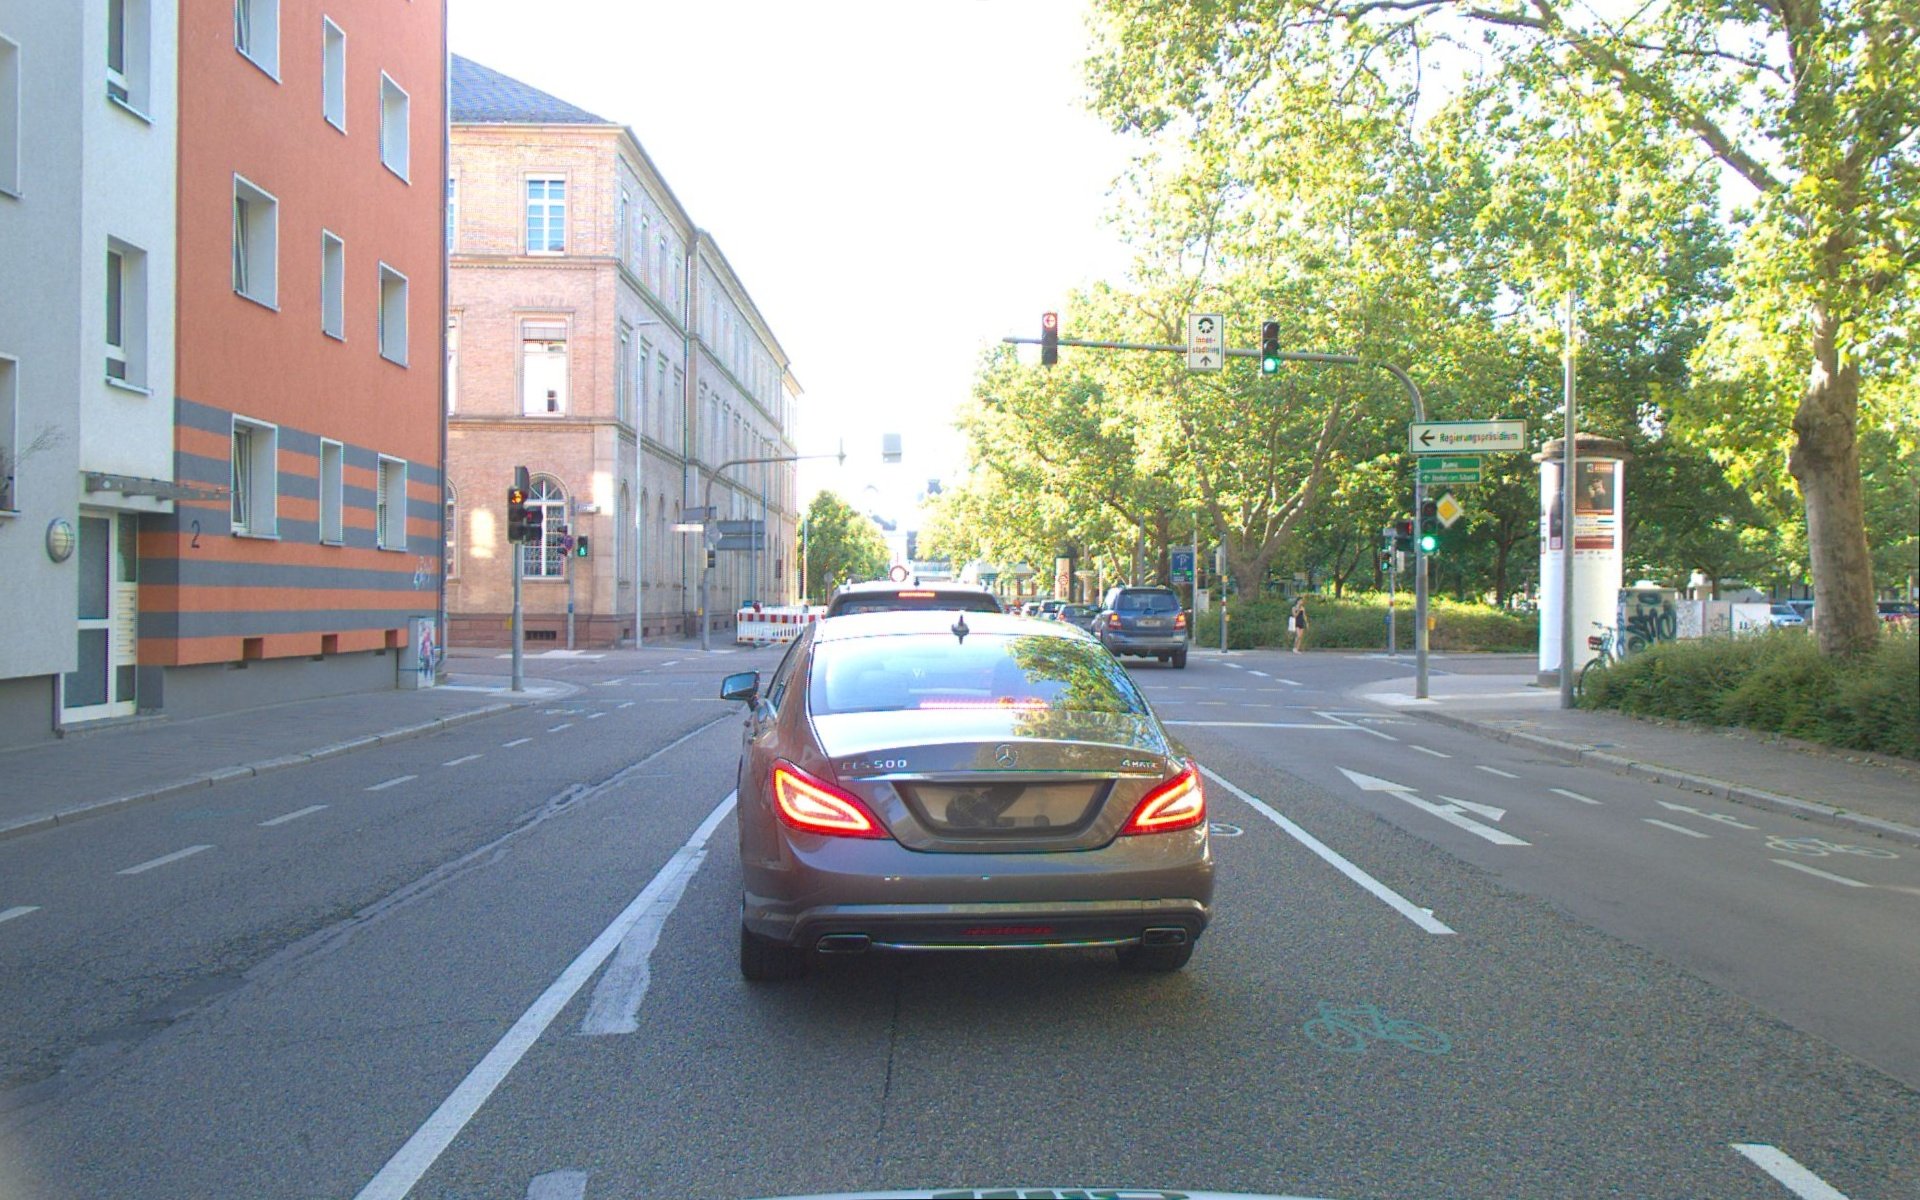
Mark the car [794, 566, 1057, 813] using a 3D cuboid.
[{"bbox_3d":[-0.269,0.622,13.610,1.823,1.712,3.999,1,0,-1],"label":"car"}]

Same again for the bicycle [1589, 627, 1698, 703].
[{"bbox_3d":[9.872,0.925,23.855,1.868,1.046,0.633,1,-1,-39],"label":"bicycle"}]

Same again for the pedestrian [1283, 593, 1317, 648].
[{"bbox_3d":[9.925,0.598,48.317,0.625,1.572,0.907,1,-1,-15],"label":"pedestrian"}]

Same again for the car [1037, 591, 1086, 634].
[{"bbox_3d":[4.153,0.493,67.914,1.696,1.691,3.680,1,0,-1],"label":"car"}]

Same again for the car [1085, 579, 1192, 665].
[{"bbox_3d":[3.939,0.451,37.157,1.823,1.794,4.481,1,0,-1],"label":"car"}]

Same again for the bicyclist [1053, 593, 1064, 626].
[{"bbox_3d":[6.246,0.603,105.101,0.583,2.075,0.565,1,-1,-5],"label":"bicyclist"}]

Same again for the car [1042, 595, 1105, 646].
[{"bbox_3d":[3.611,0.631,53.267,1.670,1.545,3.999,1,0,-1],"label":"car"}]

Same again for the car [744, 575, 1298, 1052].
[{"bbox_3d":[-0.032,0.693,7.482,1.826,1.545,3.993,1,0,-8],"label":"car"}]

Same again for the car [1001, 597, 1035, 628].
[{"bbox_3d":[2.990,0.653,86.454,1.568,1.576,3.680,1,0,-1],"label":"car"}]
